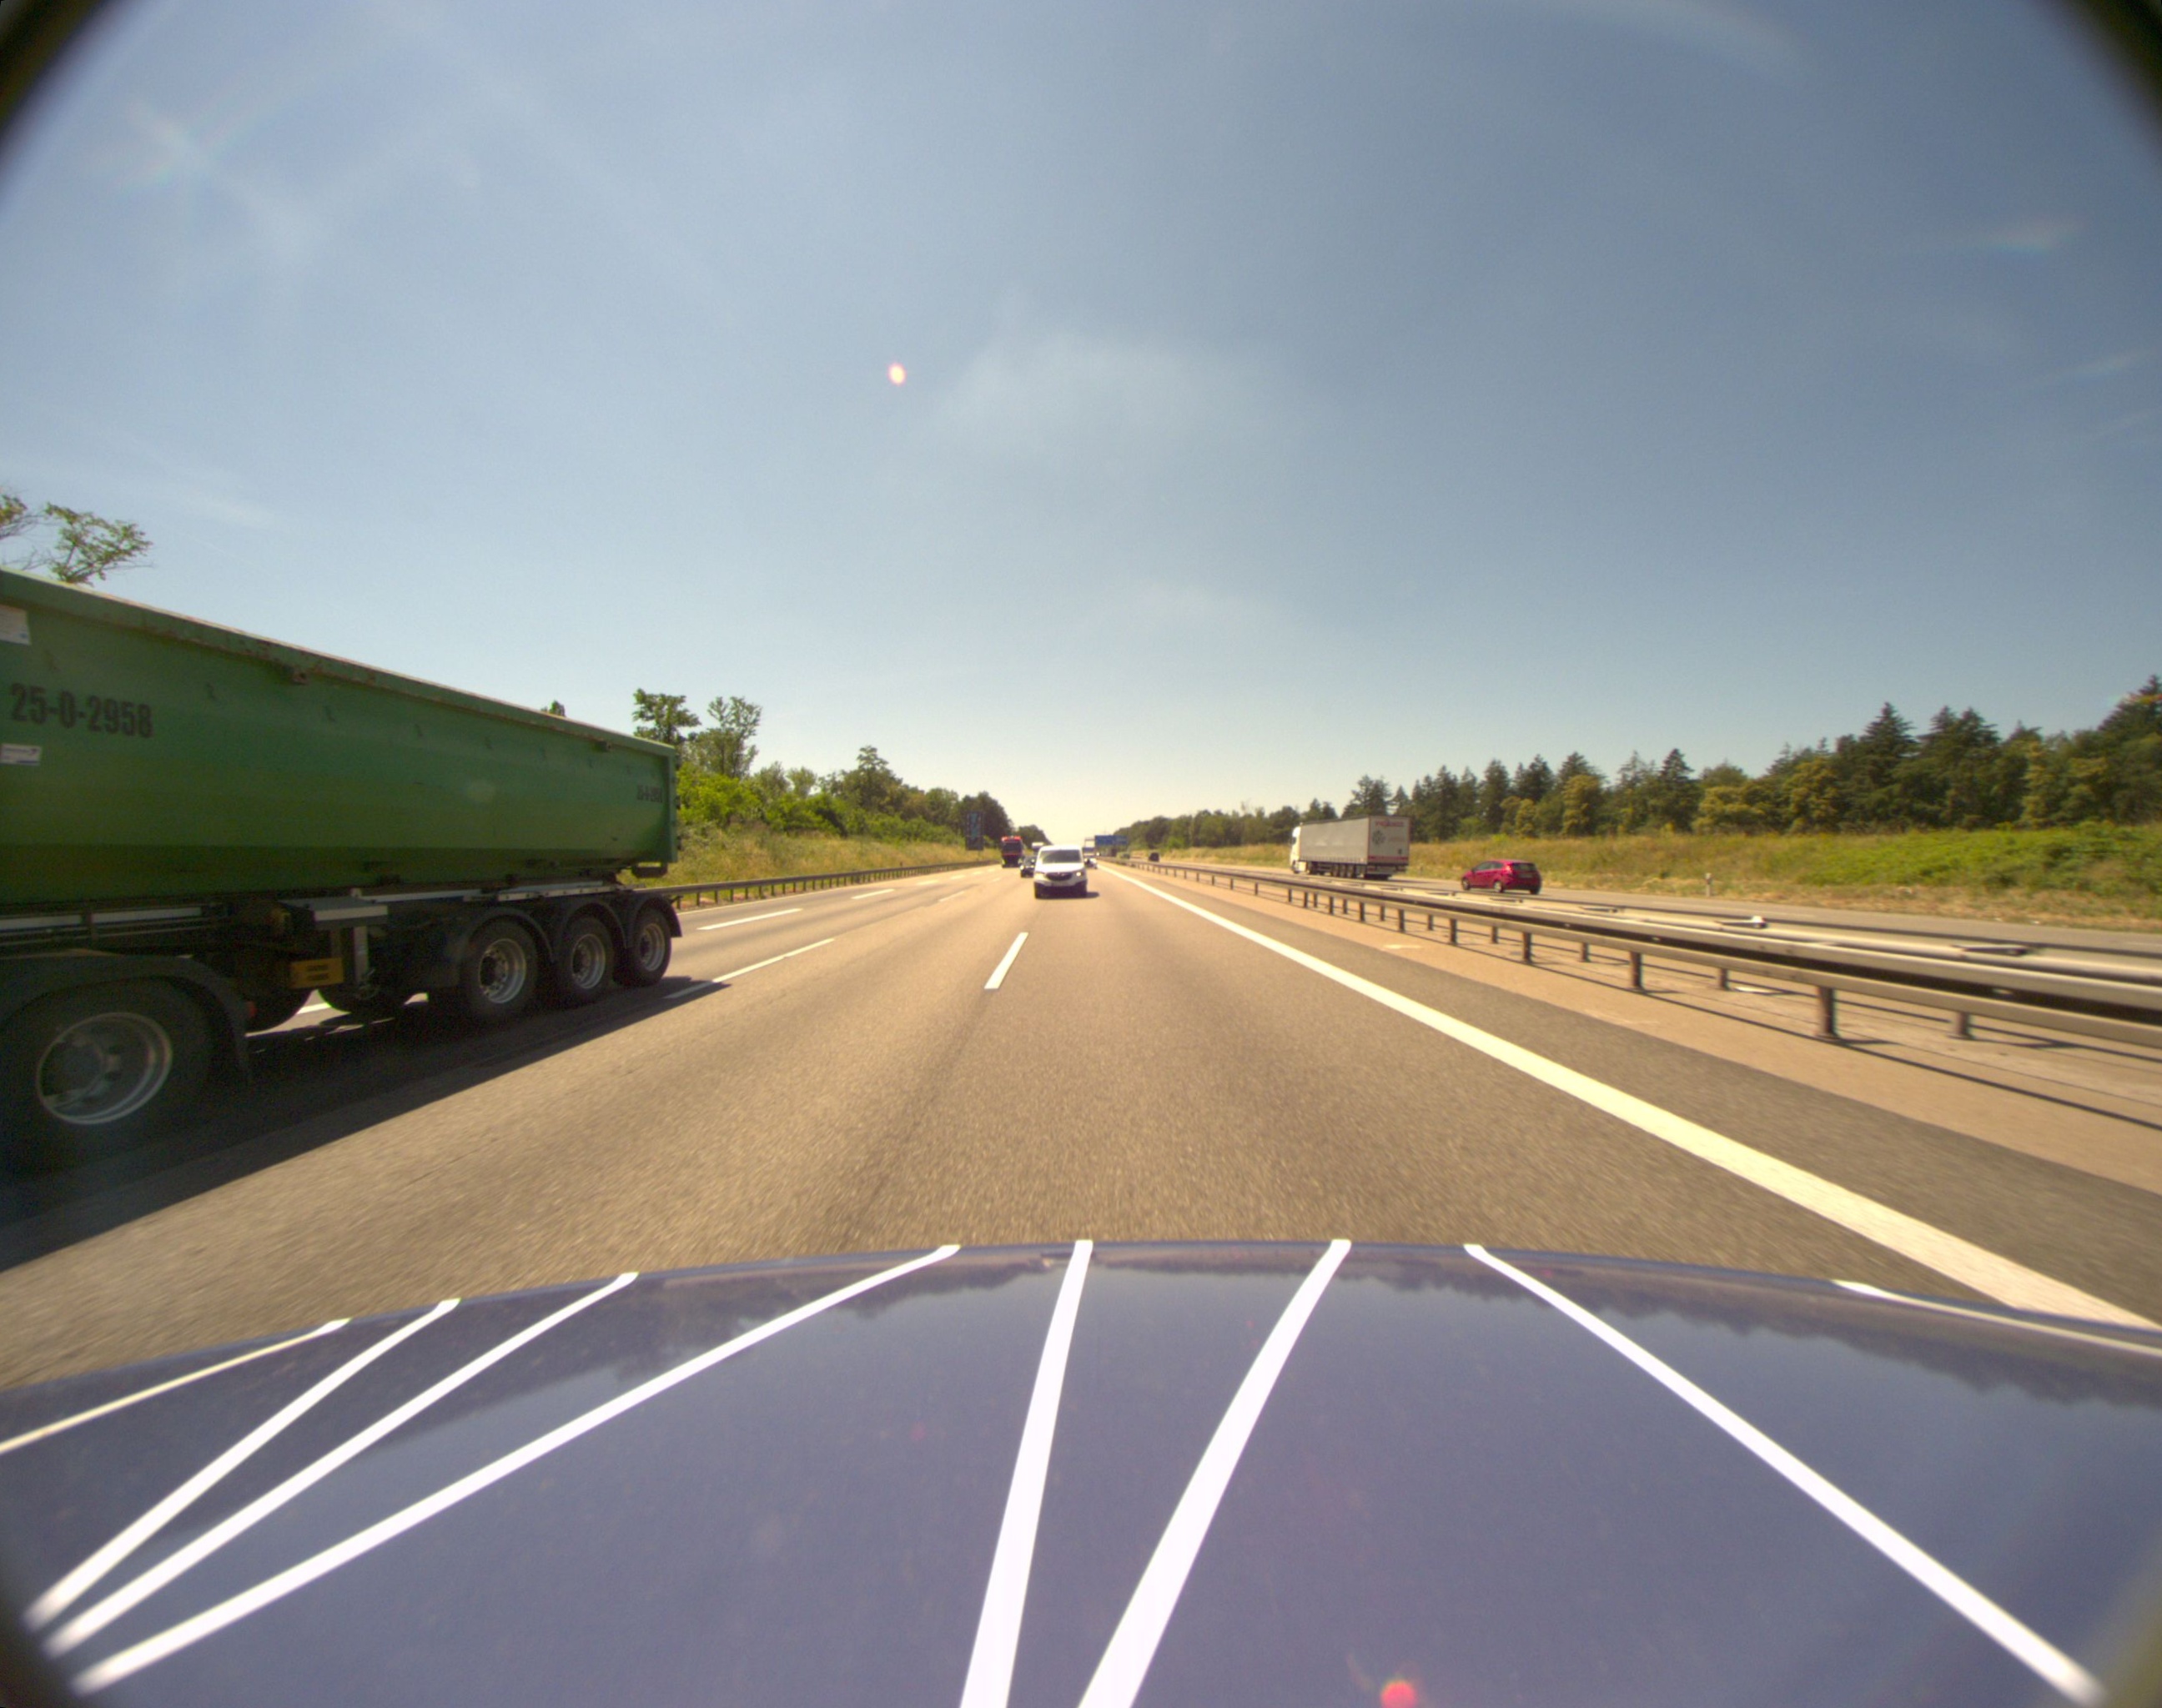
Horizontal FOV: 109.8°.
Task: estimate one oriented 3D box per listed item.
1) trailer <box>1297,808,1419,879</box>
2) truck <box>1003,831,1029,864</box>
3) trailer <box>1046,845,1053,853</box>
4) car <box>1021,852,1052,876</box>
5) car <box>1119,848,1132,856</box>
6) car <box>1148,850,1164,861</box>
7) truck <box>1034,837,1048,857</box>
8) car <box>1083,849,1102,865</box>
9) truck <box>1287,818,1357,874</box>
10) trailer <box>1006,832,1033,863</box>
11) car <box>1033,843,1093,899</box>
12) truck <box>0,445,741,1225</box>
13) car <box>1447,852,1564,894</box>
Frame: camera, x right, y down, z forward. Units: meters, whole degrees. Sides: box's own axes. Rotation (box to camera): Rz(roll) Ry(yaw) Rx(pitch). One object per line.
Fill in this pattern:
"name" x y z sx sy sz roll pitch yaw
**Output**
"trailer" 18.451 -0.655 52.140 2.957 4.084 14.100 2 0 -1
"truck" -7.803 -0.787 92.241 2.535 3.712 6.098 -2 0 0
"trailer" -8.989 -1.458 219.437 1.849 2.196 3.196 -2 0 -1
"car" -2.941 0.658 50.833 1.806 1.475 4.271 -2 0 -1
"car" 8.933 -0.373 151.624 2.233 1.415 5.298 1 0 -1
"car" 13.312 0.200 134.825 2.233 1.801 5.298 1 0 -1
"truck" -8.482 -1.471 162.023 2.604 3.980 6.172 -2 0 -1
"car" 1.055 0.271 71.165 1.582 1.412 3.352 -2 0 -1
"truck" 18.374 -0.612 58.406 2.957 3.937 6.951 2 0 -1
"trailer" -7.826 -0.817 98.027 2.535 3.712 11.547 -2 0 0
"car" -0.554 0.549 27.561 1.870 1.807 4.941 -2 0 2
"truck" -6.577 -0.078 5.347 2.688 3.776 12.476 -2 0 0
"car" 18.047 0.768 32.619 2.233 1.601 4.787 1 0 -1
